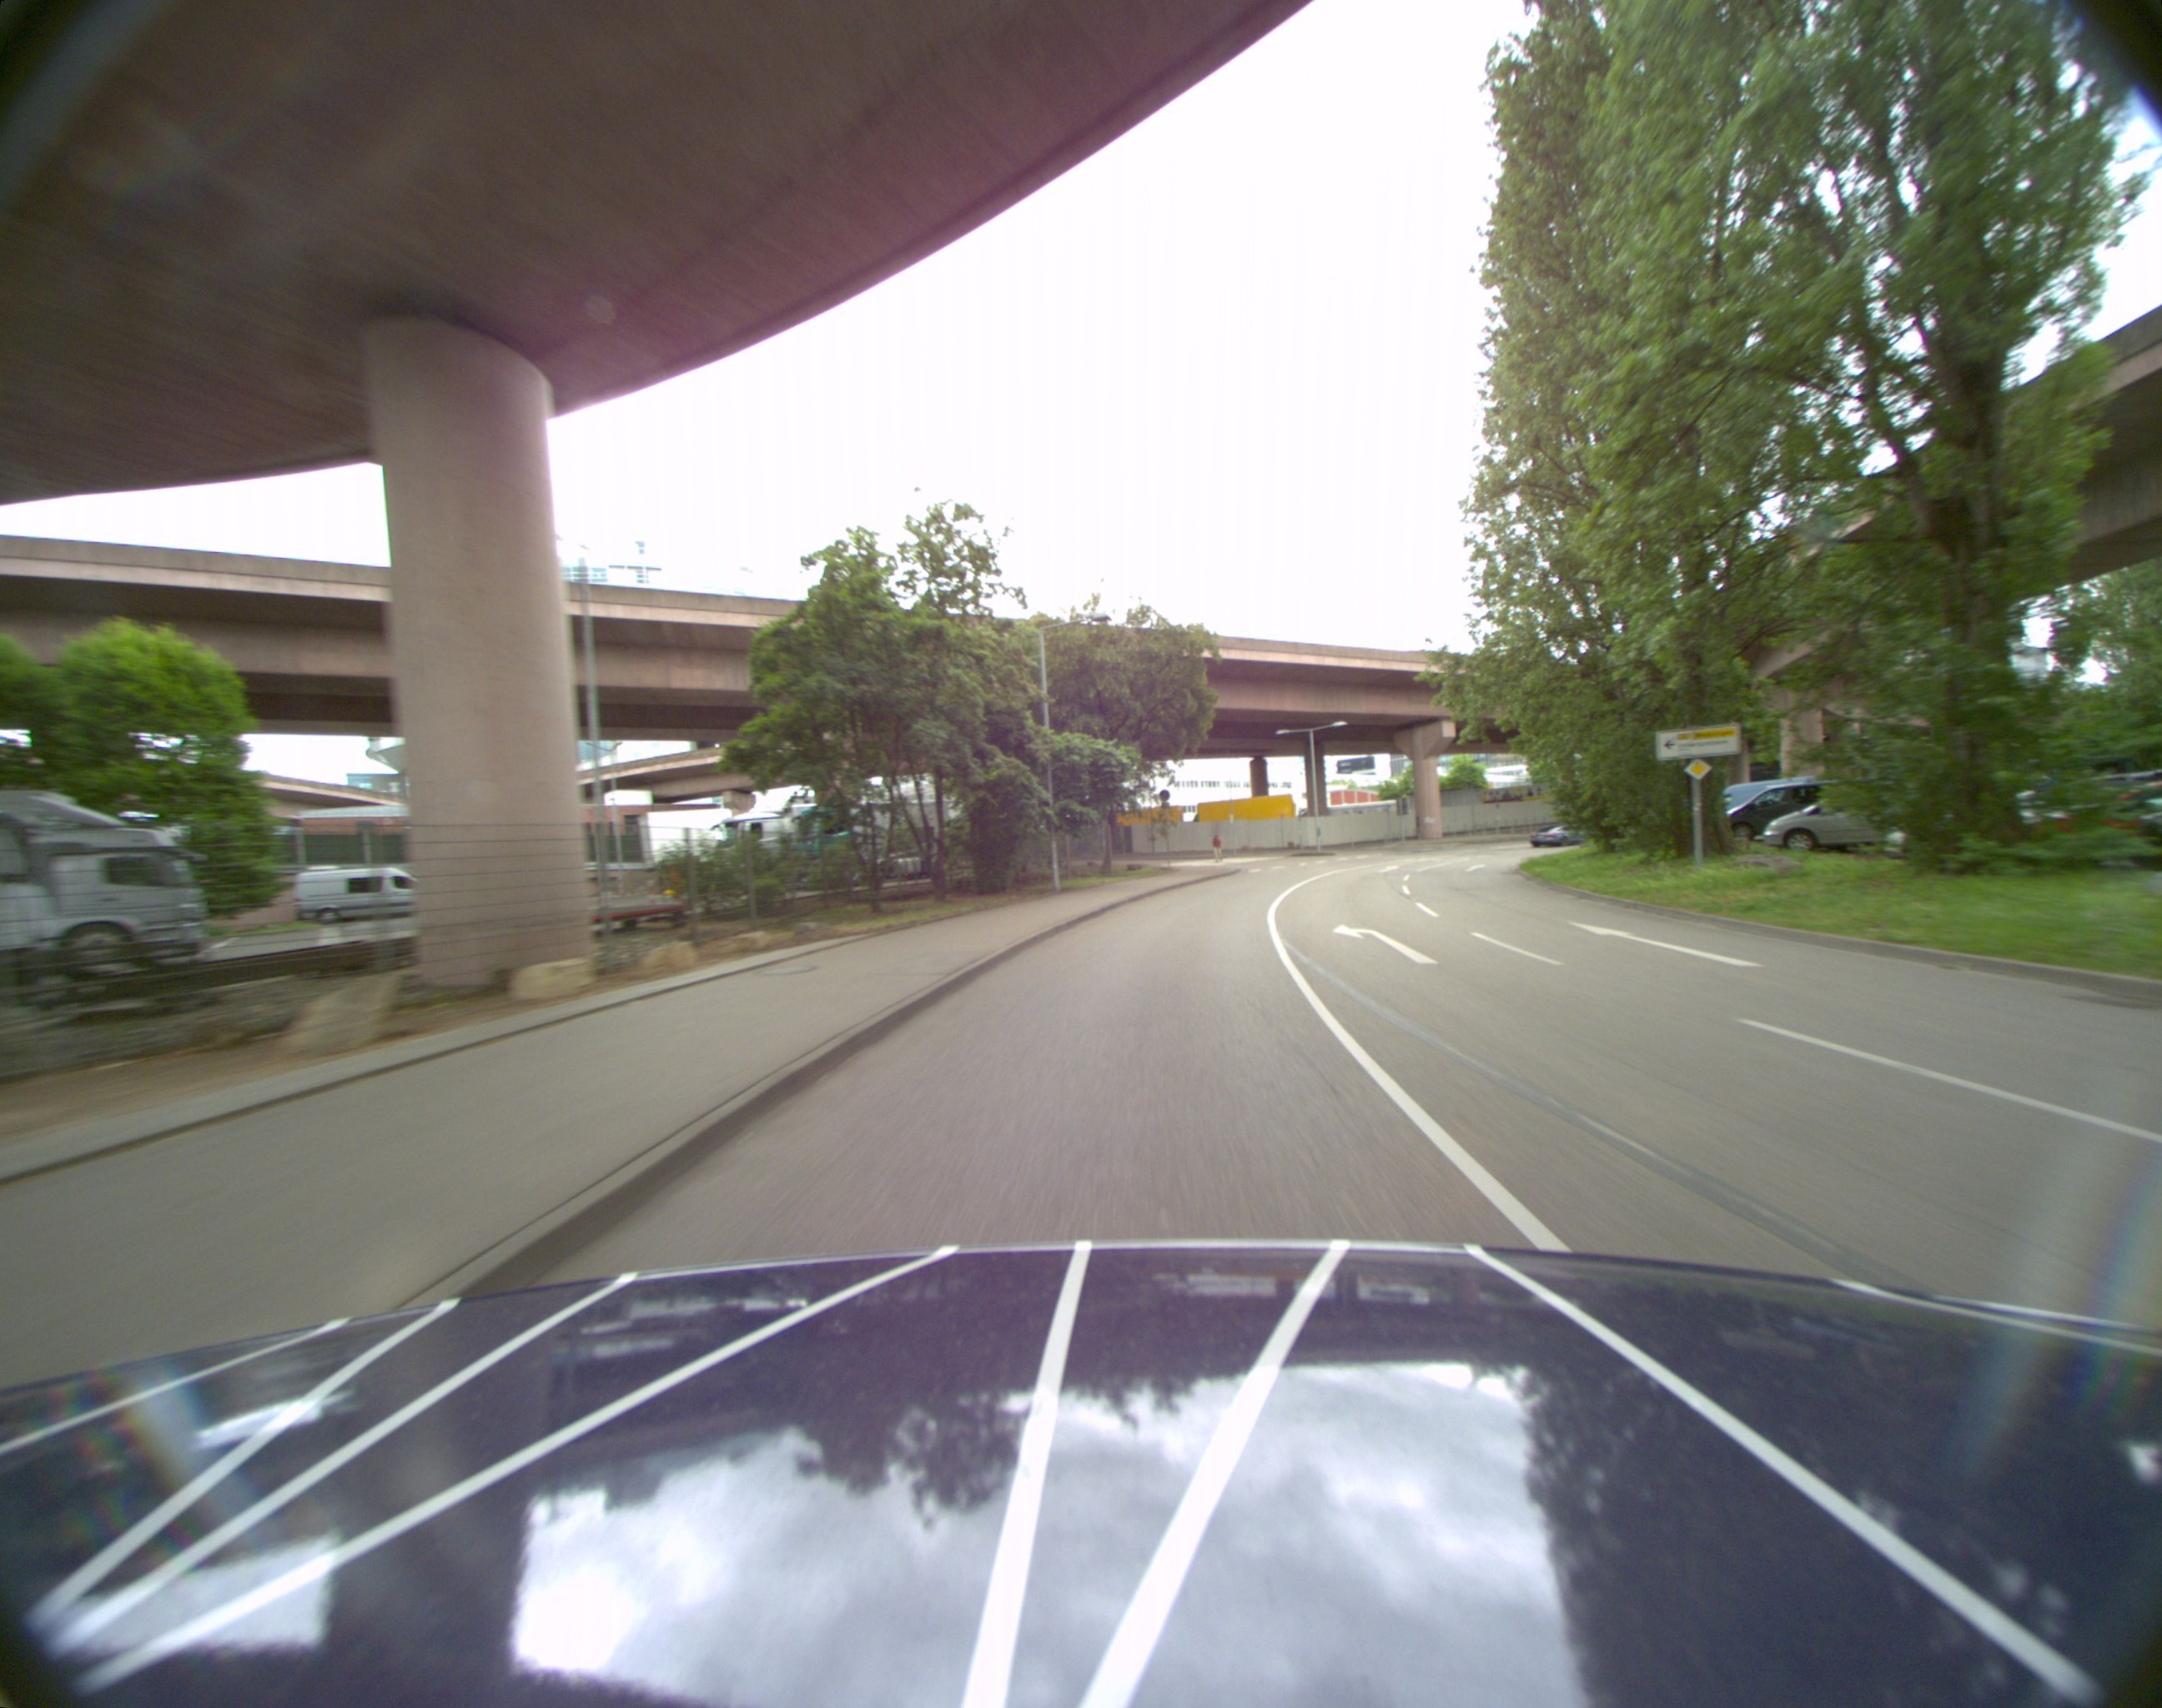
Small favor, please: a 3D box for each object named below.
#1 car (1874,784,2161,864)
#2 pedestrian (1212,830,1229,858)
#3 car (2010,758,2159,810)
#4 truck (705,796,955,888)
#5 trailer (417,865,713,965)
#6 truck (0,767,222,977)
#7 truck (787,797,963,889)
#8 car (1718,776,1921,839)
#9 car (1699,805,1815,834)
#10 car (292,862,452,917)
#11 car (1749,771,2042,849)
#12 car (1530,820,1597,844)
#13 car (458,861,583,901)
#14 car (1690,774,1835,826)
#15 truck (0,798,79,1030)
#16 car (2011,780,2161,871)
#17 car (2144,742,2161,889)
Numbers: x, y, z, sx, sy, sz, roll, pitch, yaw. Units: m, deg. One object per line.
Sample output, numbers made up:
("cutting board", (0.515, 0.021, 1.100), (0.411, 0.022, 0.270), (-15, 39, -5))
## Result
("car", (18.803, -0.558, 14.674), (1.697, 1.356, 4.508), (-4, 2, -20))
("pedestrian", (8.536, -0.622, 46.495), (0.752, 1.671, 0.856), (-2, 2, 23))
("car", (40.034, -2.764, 30.388), (3.539, 1.789, 1.642), (-3, 2, 5))
("truck", (-10.519, -0.696, 33.253), (10.234, 3.478, 2.264), (-4, 2, -44))
("trailer", (-9.251, 1.000, 14.137), (1.602, 1.324, 4.387), (-2, 2, 19))
("truck", (-25.462, 0.570, 15.430), (10.154, 4.340, 3.903), (-4, 1, -45))
("truck", (-8.235, -0.555, 30.929), (6.423, 3.389, 2.264), (-4, 2, -41))
("car", (25.467, -1.564, 26.477), (1.857, 2.003, 4.713), (-2, 3, -18))
("car", (30.385, -1.542, 34.269), (1.358, 1.227, 3.619), (-2, 3, -27))
("car", (-34.782, 1.699, 37.518), (5.169, 2.198, 2.332), (-4, 0, -26))
("car", (19.916, -1.005, 18.900), (1.697, 1.665, 4.668), (-4, 2, -22))
("car", (31.610, -1.464, 49.712), (4.762, 1.352, 1.928), (-4, 2, -33))
("car", (-29.464, 1.414, 40.158), (4.879, 1.696, 2.091), (-4, 0, -26))
("car", (36.824, -2.847, 41.309), (1.830, 2.566, 5.677), (-2, 3, -16))
("truck", (-13.826, 0.801, 5.896), (2.423, 2.728, 7.233), (-4, 1, -2))
("car", (17.200, -0.478, 11.473), (1.566, 1.372, 3.698), (-4, 2, -22))
("car", (15.796, -0.549, 8.058), (1.858, 1.906, 4.964), (-4, 2, -22))
